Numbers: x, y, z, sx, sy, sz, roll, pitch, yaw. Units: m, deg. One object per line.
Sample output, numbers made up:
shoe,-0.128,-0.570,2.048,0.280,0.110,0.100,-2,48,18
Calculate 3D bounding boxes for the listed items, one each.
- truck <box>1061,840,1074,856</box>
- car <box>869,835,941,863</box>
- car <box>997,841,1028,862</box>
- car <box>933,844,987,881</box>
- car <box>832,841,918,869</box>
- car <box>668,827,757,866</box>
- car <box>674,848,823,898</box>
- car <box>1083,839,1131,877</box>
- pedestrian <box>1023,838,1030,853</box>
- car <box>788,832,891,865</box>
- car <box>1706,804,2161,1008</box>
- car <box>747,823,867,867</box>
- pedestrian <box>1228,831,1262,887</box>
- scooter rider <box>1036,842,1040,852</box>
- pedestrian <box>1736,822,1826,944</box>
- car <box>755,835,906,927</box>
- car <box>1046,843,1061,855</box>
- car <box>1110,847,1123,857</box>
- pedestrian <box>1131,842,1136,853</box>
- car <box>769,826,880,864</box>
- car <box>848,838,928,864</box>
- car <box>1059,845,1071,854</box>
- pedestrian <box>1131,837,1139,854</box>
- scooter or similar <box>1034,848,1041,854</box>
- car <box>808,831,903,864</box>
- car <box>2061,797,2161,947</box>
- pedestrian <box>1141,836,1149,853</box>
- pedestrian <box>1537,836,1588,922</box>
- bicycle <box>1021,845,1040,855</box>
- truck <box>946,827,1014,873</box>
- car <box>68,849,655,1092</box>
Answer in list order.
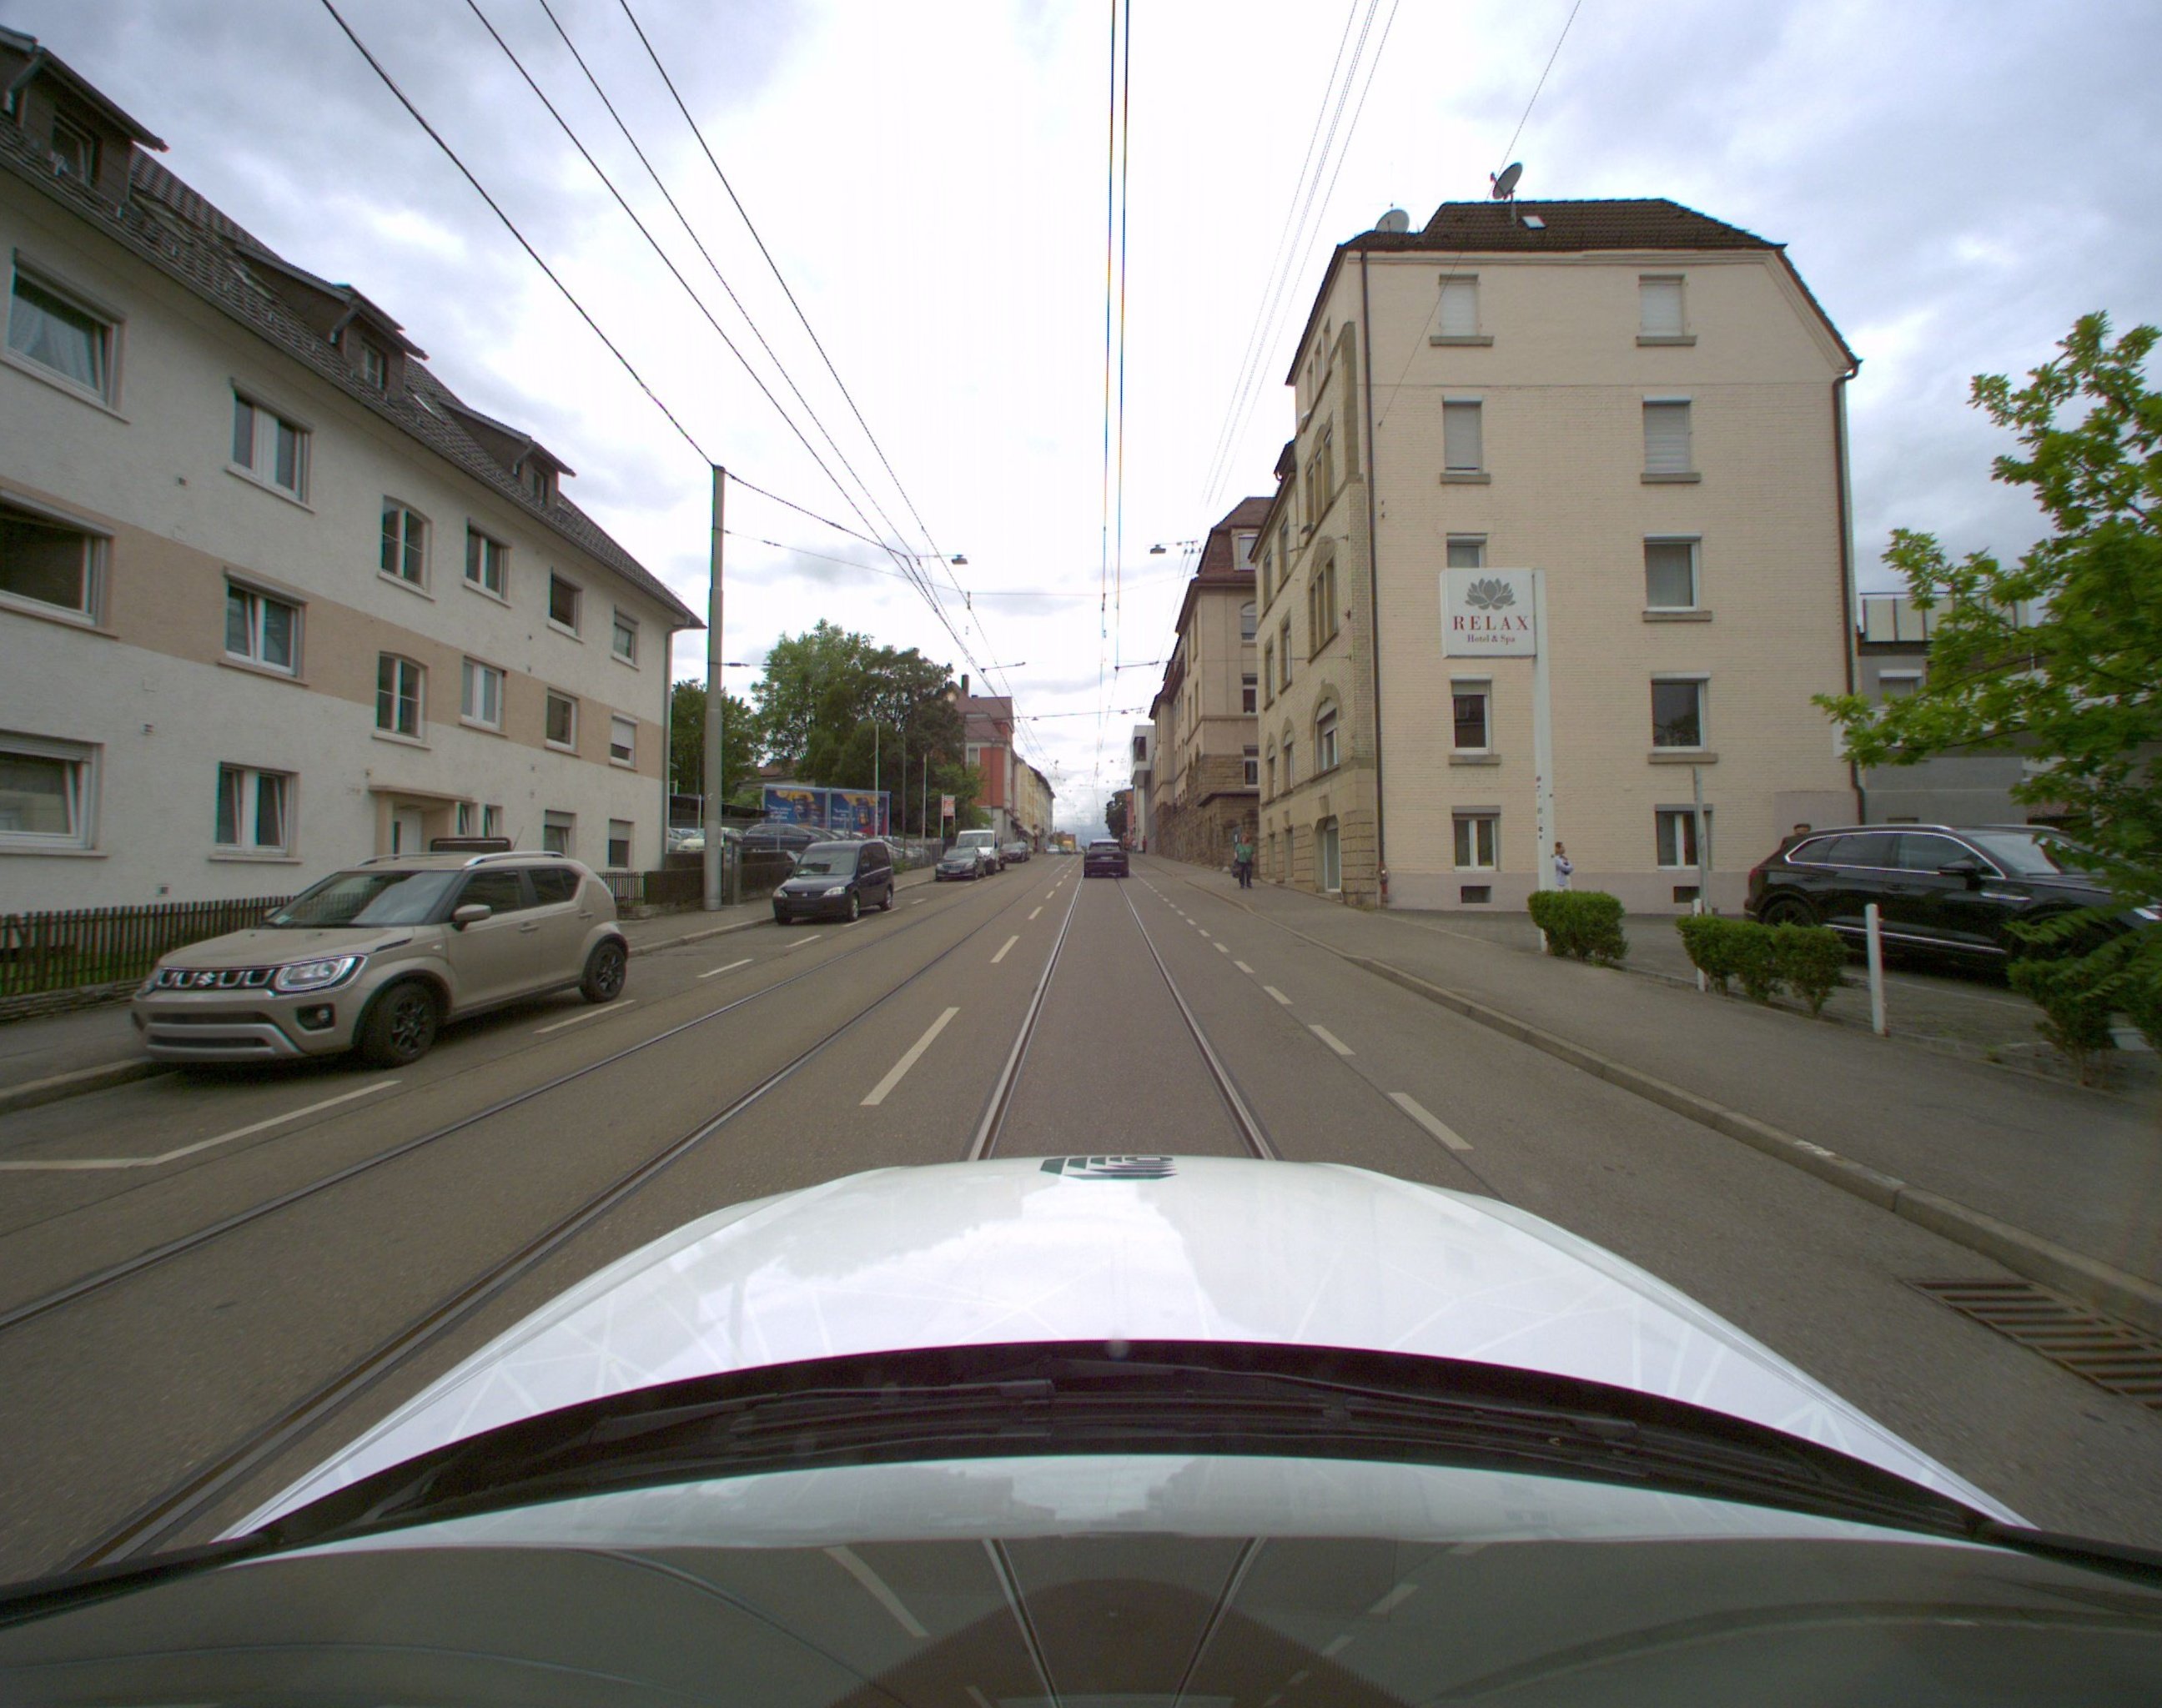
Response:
truck,-2.650,-1.213,164.239,2.294,3.036,9.035,0,1,1
car,-10.041,-0.282,46.466,3.965,1.551,1.680,0,1,-14
car,-4.865,-0.209,58.191,1.706,1.446,4.291,0,1,1
car,-5.321,0.339,36.299,1.692,1.433,4.480,-2,1,0
car,-10.383,0.054,41.201,3.863,1.357,1.688,0,1,0
car,-14.714,-0.322,32.717,1.676,1.494,3.891,0,1,2
car,-11.559,0.634,28.536,4.324,1.345,1.861,-5,1,0
car,1.164,0.134,36.718,1.986,1.563,4.291,0,1,1
pedestrian,-6.318,-0.968,94.050,0.772,1.776,0.650,0,1,2
car,-10.753,-0.254,36.401,4.047,1.445,1.688,0,1,0
car,9.882,0.395,9.016,1.988,1.682,5.093,0,1,-1
car,-10.605,-0.354,31.684,4.047,1.552,1.688,1,1,0
pedestrian,5.152,0.150,25.666,0.868,1.686,0.663,-2,1,-1
scooter rider,-6.690,-1.055,126.463,0.647,1.585,0.765,0,1,-3
pedestrian,10.123,0.403,11.803,0.642,1.707,0.768,0,1,1
car,-5.412,0.496,18.268,1.737,1.735,4.522,-2,1,2
car,-3.782,-0.705,111.473,1.848,1.606,4.298,0,1,1
car,5.664,-0.385,129.682,1.986,1.563,4.291,0,1,1
pedestrian,8.578,-1.050,132.104,0.788,1.666,0.799,0,1,3
car,-10.642,-0.364,33.968,4.047,1.523,1.739,0,1,0
car,-10.352,-0.149,43.764,3.863,1.357,1.688,0,1,0
car,-2.811,-0.764,144.056,1.848,1.606,4.298,0,1,1
pedestrian,5.428,-0.841,81.635,0.788,1.666,0.799,0,1,3
scooter or similar,-6.729,-0.529,126.465,1.025,0.919,0.472,0,1,-4
car,-10.674,-0.328,38.738,4.047,1.494,1.688,0,1,0
car,14.806,0.248,9.128,1.987,1.911,4.703,0,1,0
pedestrian,6.376,-0.980,81.574,0.788,1.666,0.799,0,1,3
pedestrian,9.031,0.457,15.292,0.556,1.582,0.686,0,1,1
bicycle,-5.077,-0.371,81.804,1.904,1.000,0.479,0,1,1
truck,-5.184,-0.242,43.101,2.271,2.188,8.029,0,1,2
car,-5.739,0.757,7.276,1.690,1.556,3.852,0,1,2
